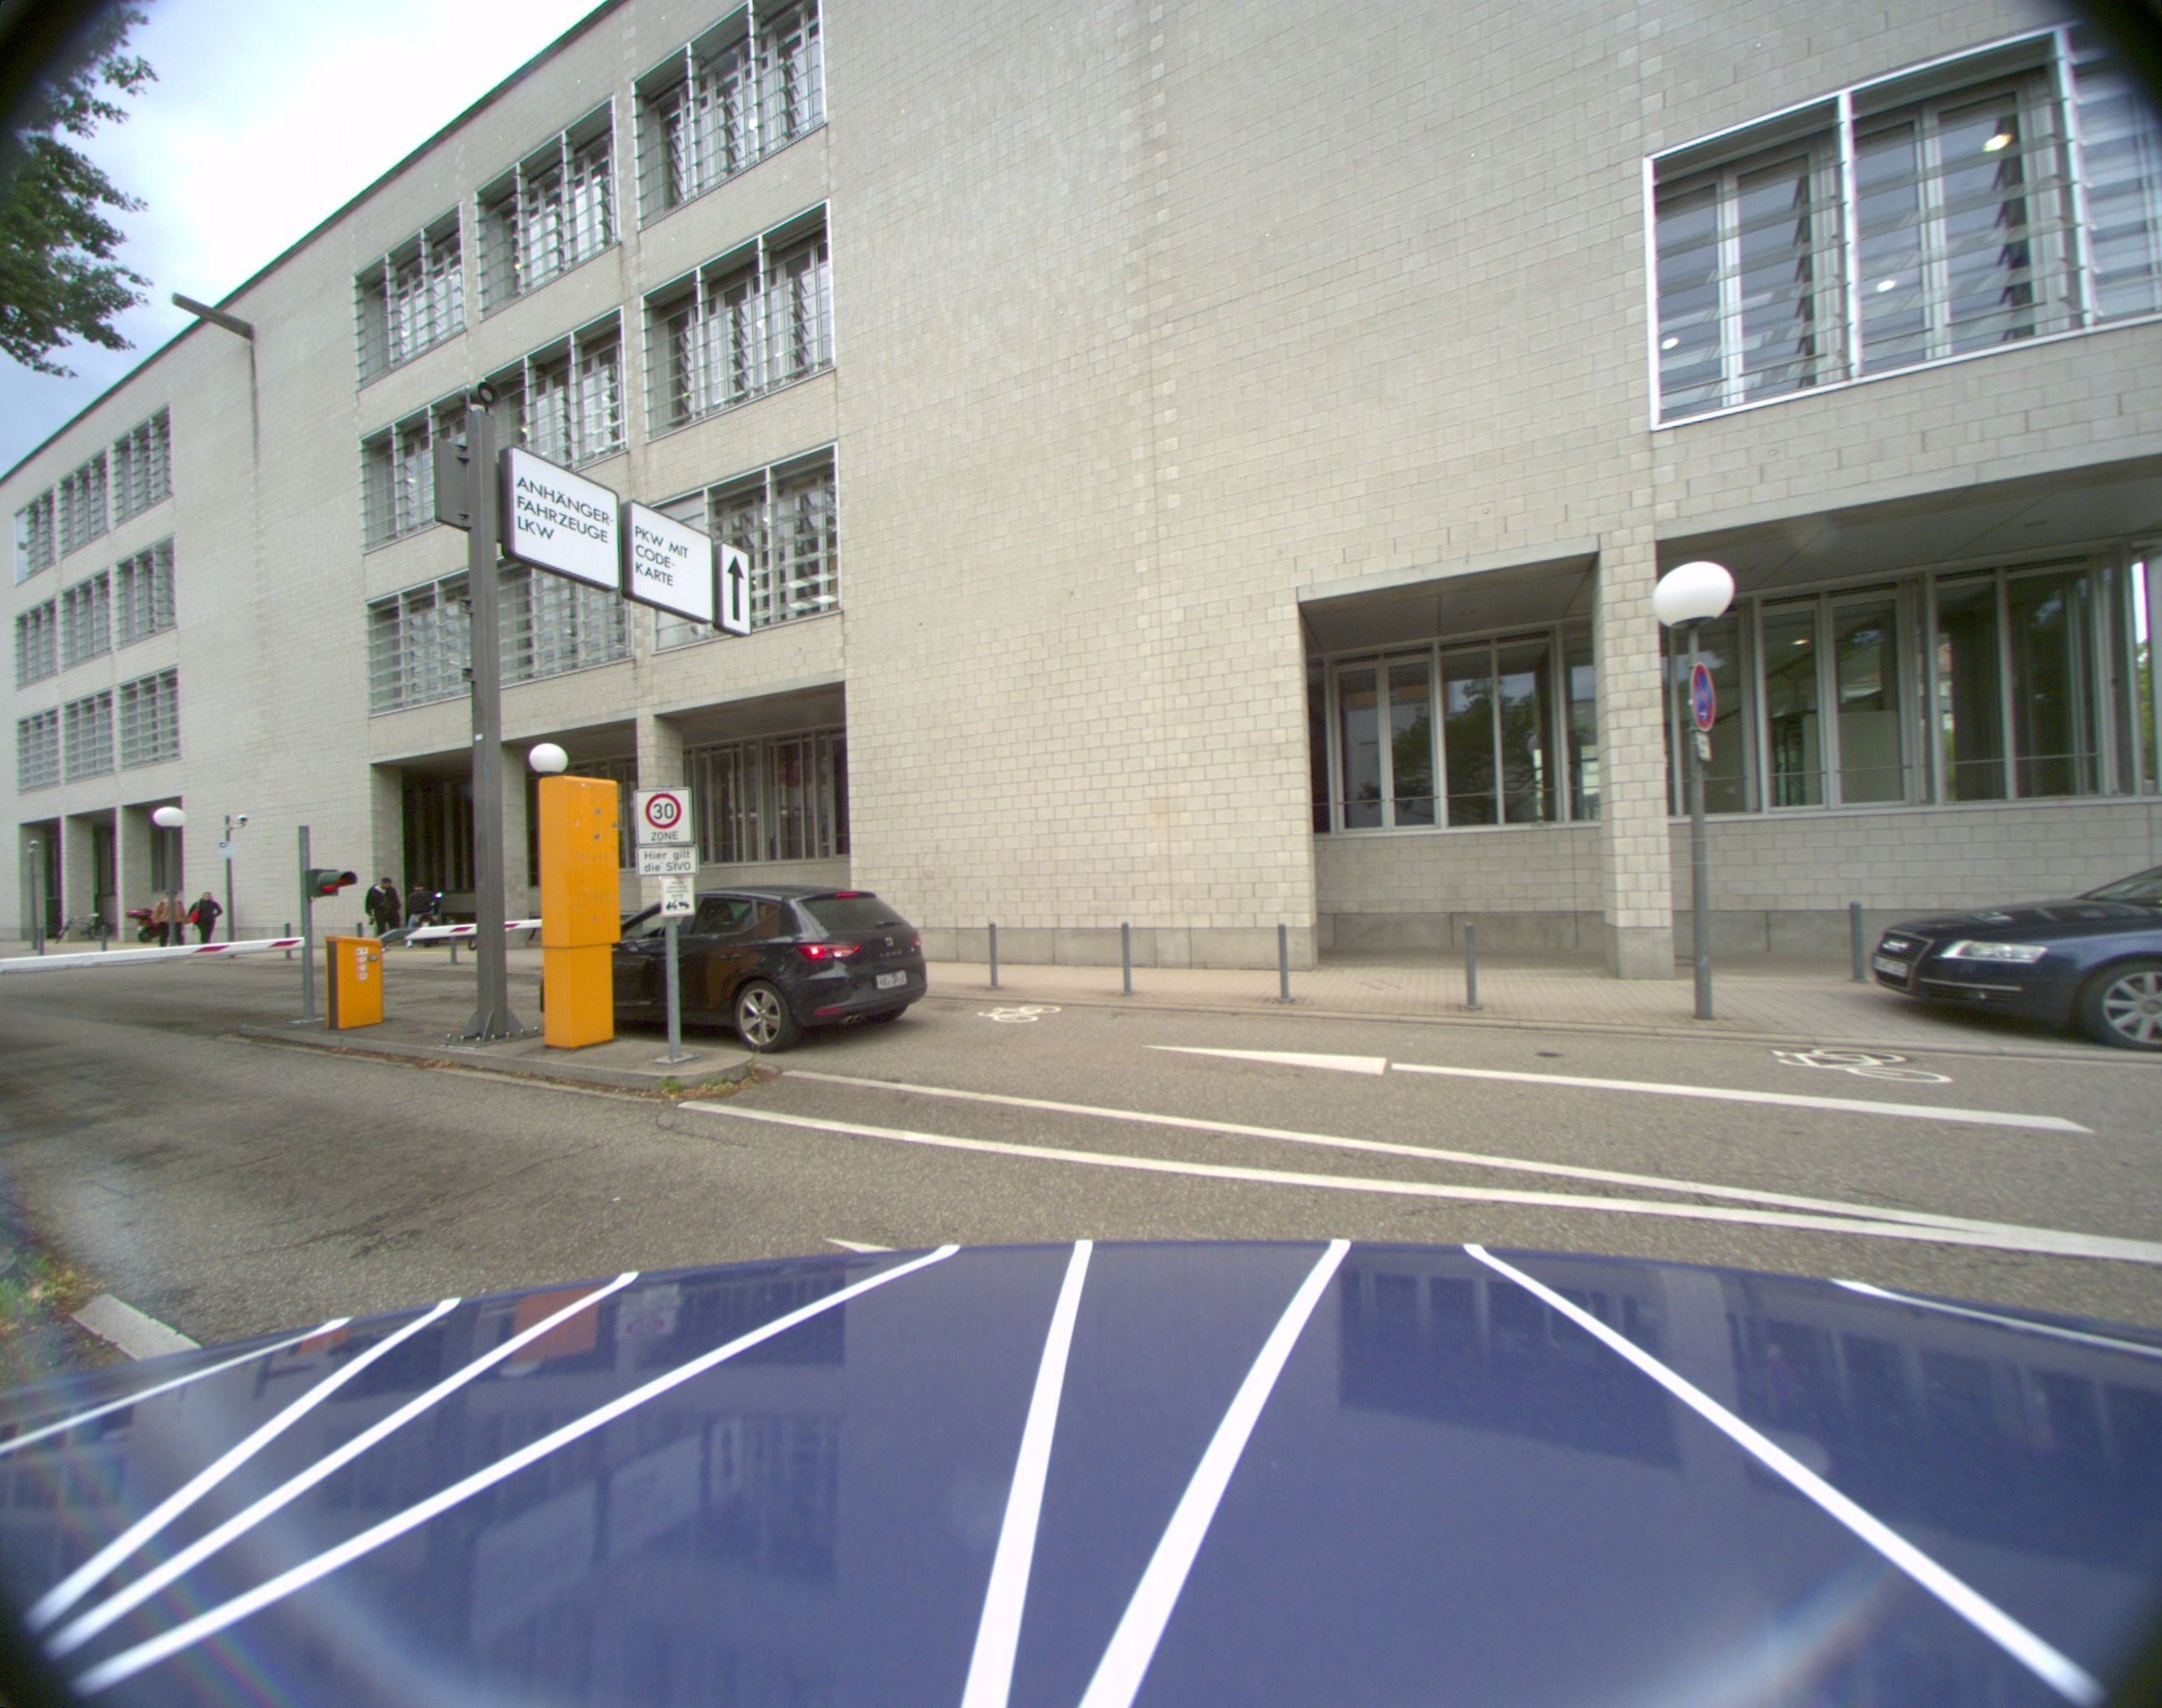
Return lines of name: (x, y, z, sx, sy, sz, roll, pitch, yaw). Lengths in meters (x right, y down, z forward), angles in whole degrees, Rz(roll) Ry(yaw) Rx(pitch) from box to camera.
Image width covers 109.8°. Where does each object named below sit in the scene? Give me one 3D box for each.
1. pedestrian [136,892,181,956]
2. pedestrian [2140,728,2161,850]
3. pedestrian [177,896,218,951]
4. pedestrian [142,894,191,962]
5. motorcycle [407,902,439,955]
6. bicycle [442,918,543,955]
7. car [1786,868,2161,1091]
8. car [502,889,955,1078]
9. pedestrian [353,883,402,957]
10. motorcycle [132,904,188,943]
pedestrian: (-25.365, 1.912, 20.889, 0.488, 1.704, 0.700, -2, -1, 29)
pedestrian: (15.220, -0.897, 10.489, 0.809, 1.649, 0.629, 1, -1, -40)
pedestrian: (-25.251, 1.973, 21.721, 0.471, 1.517, 0.647, -2, -1, 27)
pedestrian: (-23.806, 1.916, 19.784, 0.488, 1.704, 0.700, -2, -1, 26)
motorcycle: (-16.649, 1.851, 19.243, 0.569, 1.141, 2.211, 1, -1, -41)
bicycle: (-13.898, 1.930, 18.018, 0.492, 0.694, 1.906, 1, -1, 21)
car: (8.816, 0.843, 5.586, 4.911, 1.443, 2.003, -2, -1, 25)
car: (-3.506, 1.100, 7.537, 4.120, 1.410, 1.791, -2, -1, 24)
pedestrian: (-16.737, 1.557, 18.083, 0.573, 1.704, 0.614, -2, 0, 24)
motorcycle: (-31.800, 2.369, 26.274, 0.763, 1.141, 2.655, 1, -1, -41)
